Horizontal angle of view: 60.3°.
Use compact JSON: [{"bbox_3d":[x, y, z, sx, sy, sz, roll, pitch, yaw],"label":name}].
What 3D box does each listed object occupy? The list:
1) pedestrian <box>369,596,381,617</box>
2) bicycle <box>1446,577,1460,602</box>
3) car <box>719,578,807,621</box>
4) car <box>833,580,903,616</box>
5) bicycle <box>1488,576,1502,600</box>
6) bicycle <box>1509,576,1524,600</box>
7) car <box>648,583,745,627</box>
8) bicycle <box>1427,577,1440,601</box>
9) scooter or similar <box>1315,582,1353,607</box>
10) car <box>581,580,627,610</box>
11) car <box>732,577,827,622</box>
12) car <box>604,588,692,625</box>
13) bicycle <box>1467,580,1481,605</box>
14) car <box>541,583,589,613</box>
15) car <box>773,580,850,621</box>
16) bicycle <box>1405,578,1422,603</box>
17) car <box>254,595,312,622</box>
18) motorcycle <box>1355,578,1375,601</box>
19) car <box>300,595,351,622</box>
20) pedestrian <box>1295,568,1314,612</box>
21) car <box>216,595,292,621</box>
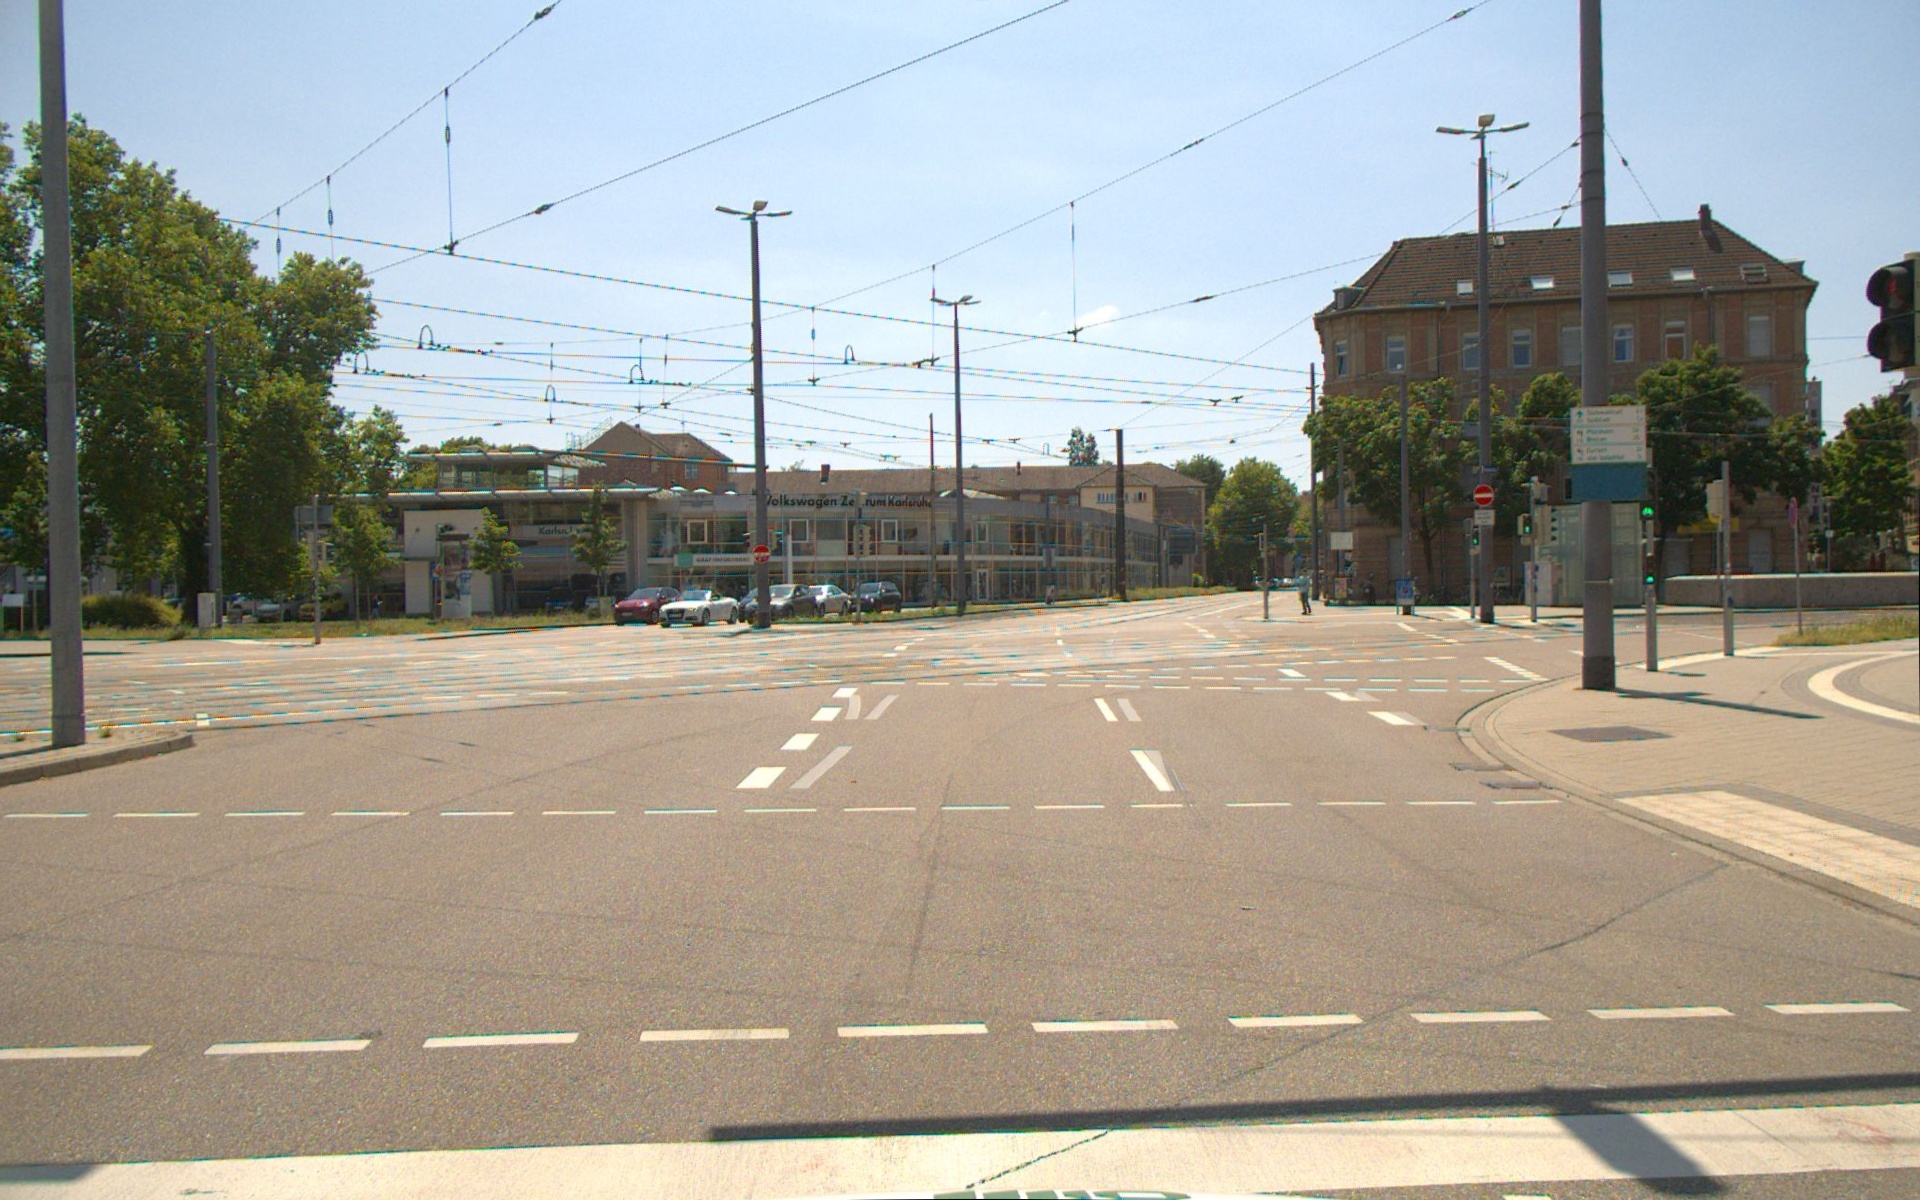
[{"bbox_3d":[-34.327,0.373,97.041,0.502,1.225,0.446,-1,0,5],"label":"pedestrian"},{"bbox_3d":[23.449,-0.498,78.689,0.539,1.139,1.822,-1,0,15],"label":"bicycle"},{"bbox_3d":[-8.295,-0.041,70.130,1.951,1.730,4.850,-1,1,16],"label":"car"},{"bbox_3d":[-4.577,-0.114,82.985,2.034,1.712,4.850,-1,1,16],"label":"car"},{"bbox_3d":[25.549,-0.568,78.996,0.539,1.139,1.872,-1,0,15],"label":"bicycle"},{"bbox_3d":[26.575,-0.565,79.047,0.539,1.139,1.931,-1,0,15],"label":"bicycle"},{"bbox_3d":[-10.134,0.167,63.964,2.032,1.607,4.850,-1,1,13],"label":"car"},{"bbox_3d":[22.565,-0.537,78.804,0.539,1.139,1.822,-1,0,15],"label":"bicycle"},{"bbox_3d":[18.534,-0.278,81.955,1.756,1.202,0.597,-1,0,-14],"label":"scooter or similar"},{"bbox_3d":[-21.453,-0.272,99.759,1.881,1.737,4.000,1,0,0],"label":"car"},{"bbox_3d":[-6.955,-0.053,64.322,1.951,1.666,4.850,-1,1,16],"label":"car"},{"bbox_3d":[-13.370,0.254,71.203,1.951,1.491,4.850,-1,1,13],"label":"car"},{"bbox_3d":[24.398,-0.349,78.465,0.539,1.139,1.891,-1,1,15],"label":"bicycle"},{"bbox_3d":[-23.767,-0.112,99.630,1.881,1.737,4.000,1,0,0],"label":"car"},{"bbox_3d":[-6.788,-0.004,76.095,1.951,1.770,4.546,-1,1,16],"label":"car"},{"bbox_3d":[21.667,-0.450,79.001,0.433,1.166,2.095,1,0,6],"label":"bicycle"},{"bbox_3d":[-41.279,0.508,100.922,1.731,1.536,4.327,-1,1,0],"label":"car"},{"bbox_3d":[19.415,-0.522,79.301,0.568,1.093,1.947,-1,0,3],"label":"motorcycle"},{"bbox_3d":[-38.516,0.513,100.501,1.732,1.536,4.322,-1,1,-5],"label":"car"},{"bbox_3d":[13.770,-0.417,66.068,0.454,1.738,0.636,-1,0,-19],"label":"pedestrian"},{"bbox_3d":[-45.374,0.517,106.337,4.278,1.536,1.750,-1,1,-36],"label":"car"}]
